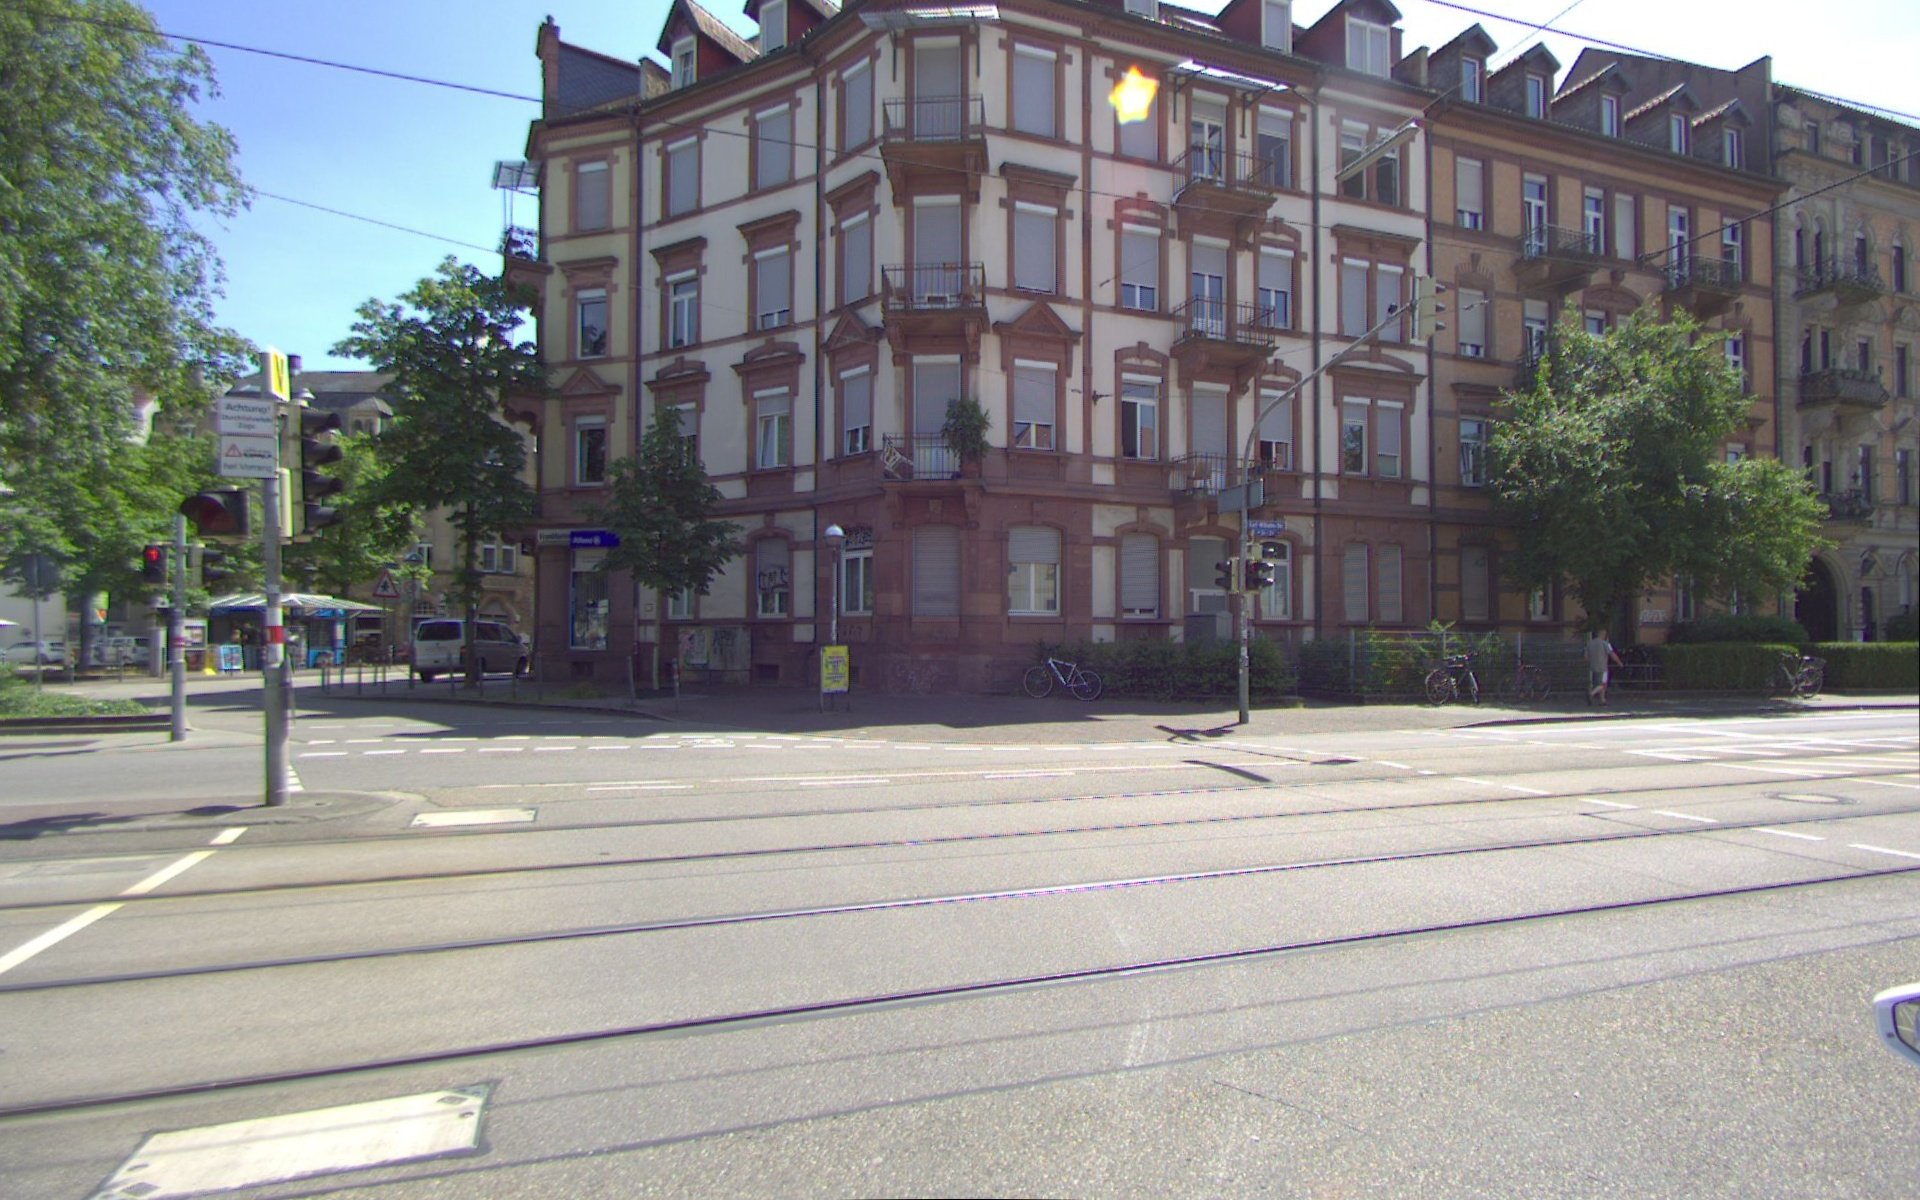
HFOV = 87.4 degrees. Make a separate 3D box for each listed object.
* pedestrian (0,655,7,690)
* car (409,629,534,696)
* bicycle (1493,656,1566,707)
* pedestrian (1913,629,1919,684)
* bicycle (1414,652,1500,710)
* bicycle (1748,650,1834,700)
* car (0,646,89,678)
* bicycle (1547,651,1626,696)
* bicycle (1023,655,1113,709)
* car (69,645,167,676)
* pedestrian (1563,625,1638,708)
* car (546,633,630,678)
[{"bbox_3d":[-38.182,2.857,39.556,0.592,1.367,0.702,0,-2,-9],"label":"pedestrian"},{"bbox_3d":[-16.248,2.050,33.675,1.961,2.094,4.590,0,-2,-1],"label":"car"},{"bbox_3d":[12.474,1.773,22.008,1.539,1.070,0.459,1,-2,-18],"label":"bicycle"},{"bbox_3d":[30.624,1.764,31.366,0.807,1.722,0.912,0,-2,7],"label":"pedestrian"},{"bbox_3d":[10.498,1.697,21.235,1.688,1.184,0.573,1,-2,-18],"label":"bicycle"},{"bbox_3d":[19.755,1.769,23.876,1.900,1.108,0.638,1,0,-18],"label":"bicycle"},{"bbox_3d":[-51.891,3.487,56.651,3.922,1.720,1.811,0,-2,-1],"label":"car"},{"bbox_3d":[14.798,1.710,23.768,0.487,1.009,1.645,1,-2,-18],"label":"bicycle"},{"bbox_3d":[2.332,1.767,21.775,1.885,1.122,0.467,-1,-2,18],"label":"bicycle"},{"bbox_3d":[-47.395,3.381,56.607,3.922,1.720,1.811,0,-2,-1],"label":"car"},{"bbox_3d":[13.626,1.405,21.390,0.996,1.722,0.872,0,-2,-14],"label":"pedestrian"},{"bbox_3d":[-16.053,2.361,43.577,1.961,1.833,4.590,0,-2,-1],"label":"car"}]
